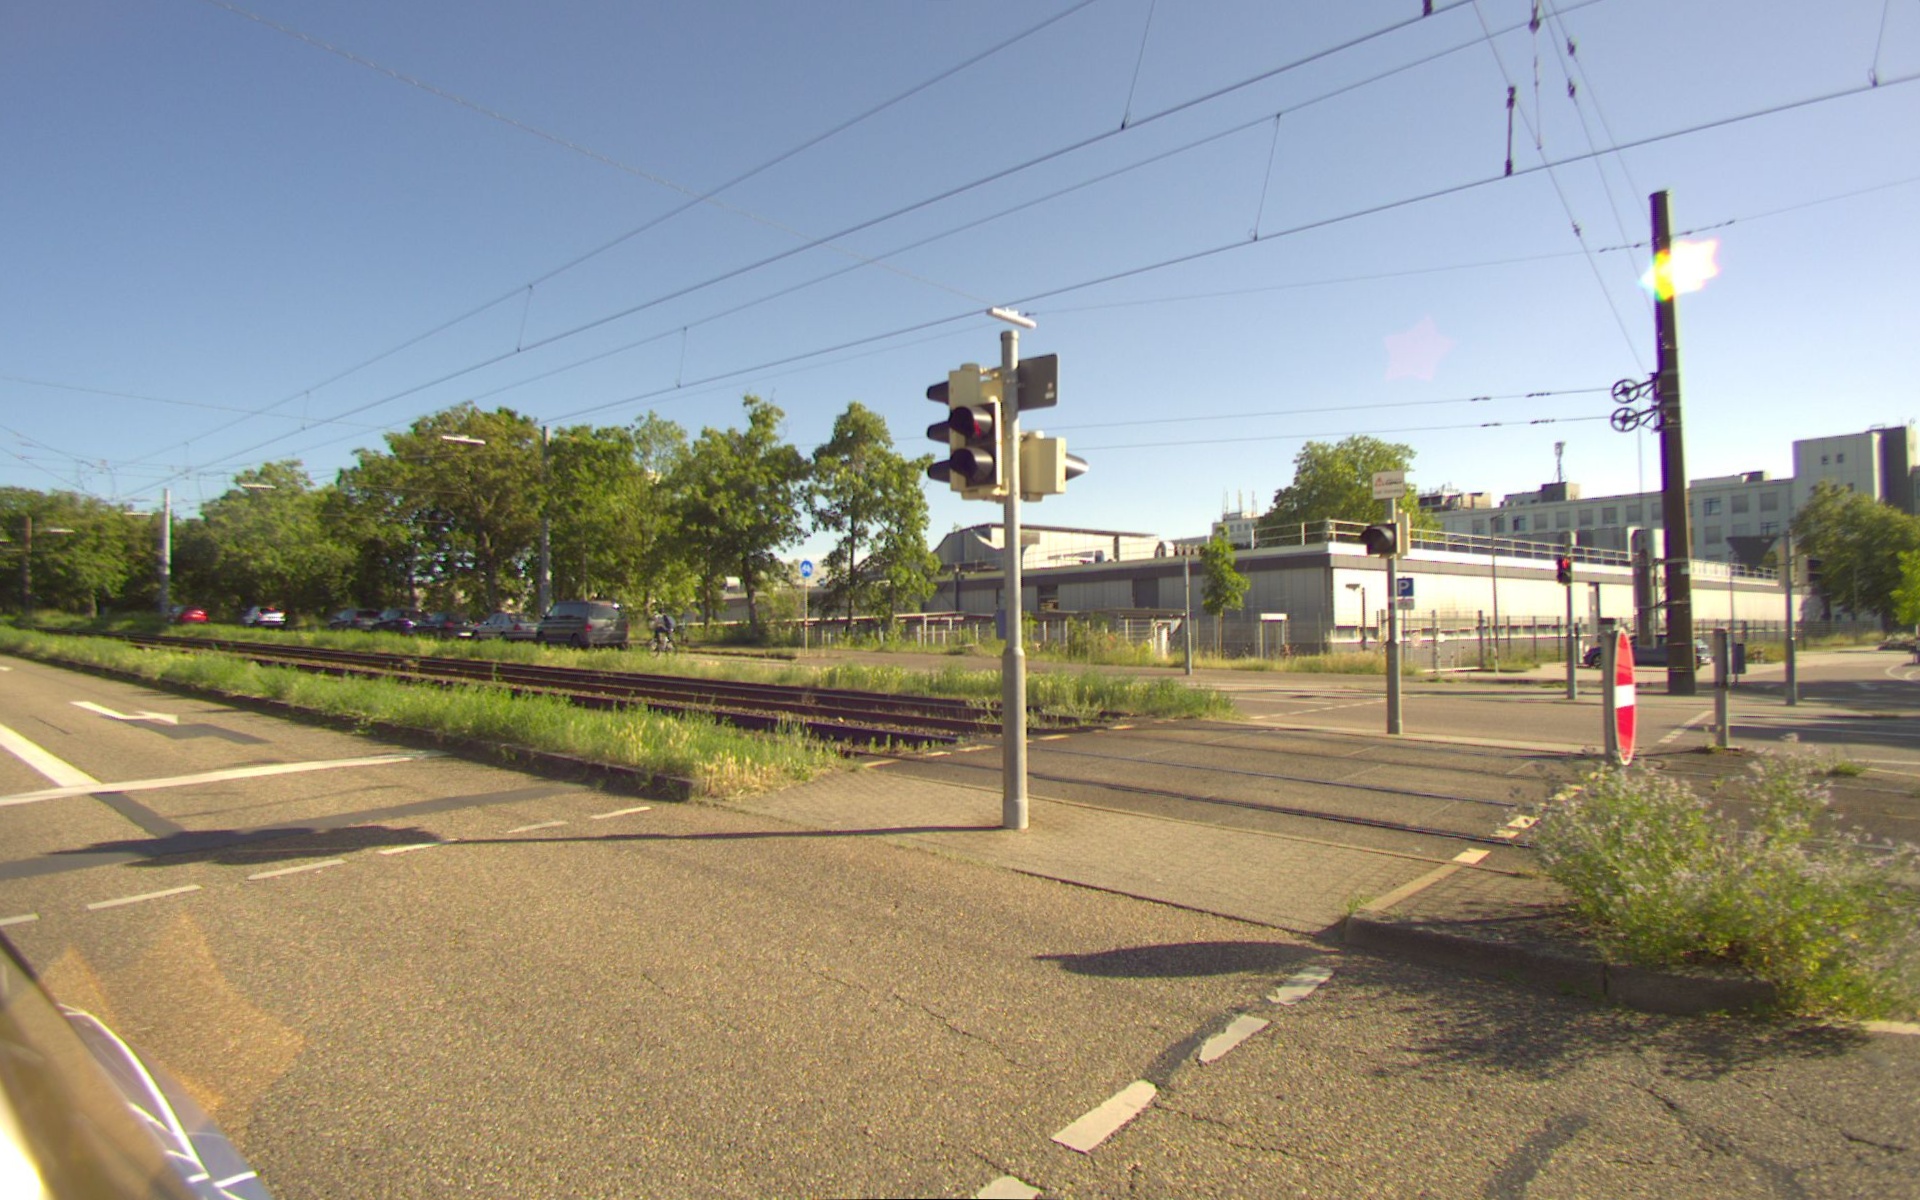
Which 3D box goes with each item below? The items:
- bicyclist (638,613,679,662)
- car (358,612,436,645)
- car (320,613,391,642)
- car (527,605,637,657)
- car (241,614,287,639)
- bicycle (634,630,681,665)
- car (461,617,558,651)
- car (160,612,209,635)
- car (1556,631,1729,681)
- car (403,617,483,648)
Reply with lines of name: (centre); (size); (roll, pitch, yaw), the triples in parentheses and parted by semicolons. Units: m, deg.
bicyclist: (-10.063, 1.245, 33.757); (1.236, 1.605, 0.794); (-1, -1, 42)
car: (-29.152, 1.459, 52.344); (4.614, 1.599, 2.102); (-1, -1, 41)
car: (-33.986, 1.534, 56.817); (4.557, 1.575, 2.103); (-1, -1, 41)
car: (-15.047, 1.194, 40.161); (4.684, 1.949, 2.178); (-1, -1, 42)
car: (-45.957, 1.755, 66.763); (1.833, 1.569, 4.159); (0, -1, -44)
bicycle: (-10.119, 1.576, 33.809); (1.781, 1.110, 0.689); (-1, -1, 42)
car: (-19.973, 1.484, 44.793); (4.612, 1.391, 2.103); (-1, -1, 40)
car: (-60.203, 1.797, 78.522); (4.797, 1.746, 2.290); (-1, -1, 43)
car: (27.150, 2.179, 40.435); (2.138, 1.762, 5.304); (0, -1, -37)
car: (-24.954, 1.541, 48.796); (4.486, 1.437, 1.935); (-1, -1, 42)
